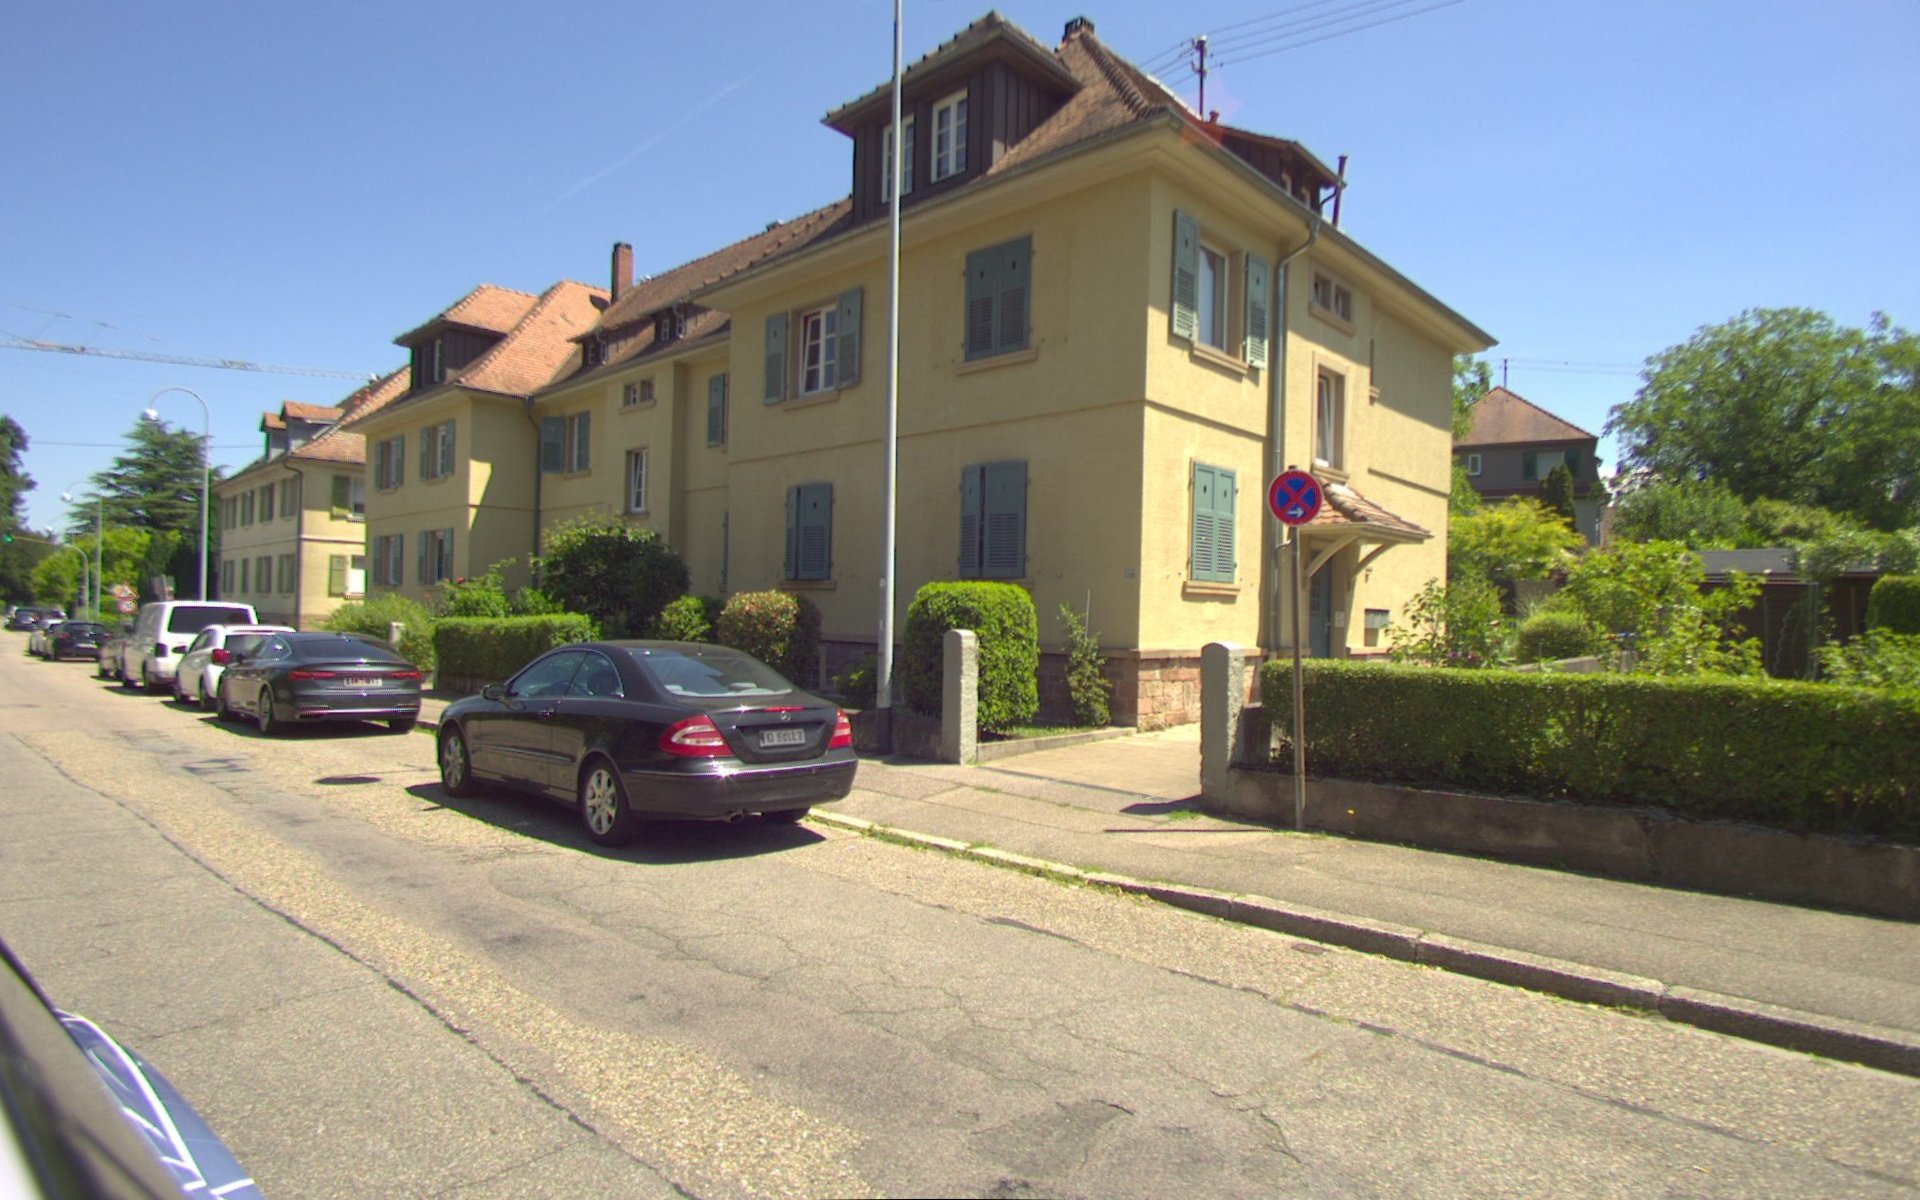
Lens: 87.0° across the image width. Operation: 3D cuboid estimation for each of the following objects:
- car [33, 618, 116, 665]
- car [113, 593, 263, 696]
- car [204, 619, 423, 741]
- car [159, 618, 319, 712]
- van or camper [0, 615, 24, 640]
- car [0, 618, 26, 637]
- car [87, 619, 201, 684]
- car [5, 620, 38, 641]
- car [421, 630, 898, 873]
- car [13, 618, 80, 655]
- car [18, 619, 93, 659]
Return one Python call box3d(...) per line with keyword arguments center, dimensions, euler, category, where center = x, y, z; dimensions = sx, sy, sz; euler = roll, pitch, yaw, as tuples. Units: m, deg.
box3d(center=(-31.380, 1.451, 35.825), dimensions=(4.076, 1.496, 1.697), euler=(0, -3, 43), category="car")
box3d(center=(-16.638, 0.946, 21.731), dimensions=(1.856, 1.978, 4.628), euler=(5, -4, -45), category="car")
box3d(center=(-9.458, 1.034, 14.642), dimensions=(4.467, 1.504, 1.647), euler=(-1, -2, 44), category="car")
box3d(center=(-12.907, 1.103, 18.054), dimensions=(3.478, 1.504, 1.647), euler=(-1, -3, 44), category="car")
box3d(center=(-72.961, 2.094, 77.510), dimensions=(1.660, 1.818, 3.991), euler=(4, -3, -41), category="van or camper")
box3d(center=(-76.699, 2.211, 81.689), dimensions=(1.660, 1.452, 4.254), euler=(4, -3, -40), category="car")
box3d(center=(-21.244, 1.301, 26.297), dimensions=(4.062, 1.537, 1.668), euler=(-1, -4, 43), category="car")
box3d(center=(-69.309, 2.252, 74.712), dimensions=(1.661, 1.423, 3.930), euler=(4, -3, -43), category="car")
box3d(center=(-2.614, 0.985, 8.131), dimensions=(4.380, 1.396, 1.647), euler=(-1, -4, 43), category="car")
box3d(center=(-39.133, 1.538, 43.341), dimensions=(3.924, 1.458, 1.740), euler=(0, -3, 43), category="car")
box3d(center=(-35.418, 1.503, 39.600), dimensions=(4.219, 1.413, 1.775), euler=(0, -3, 43), category="car")
